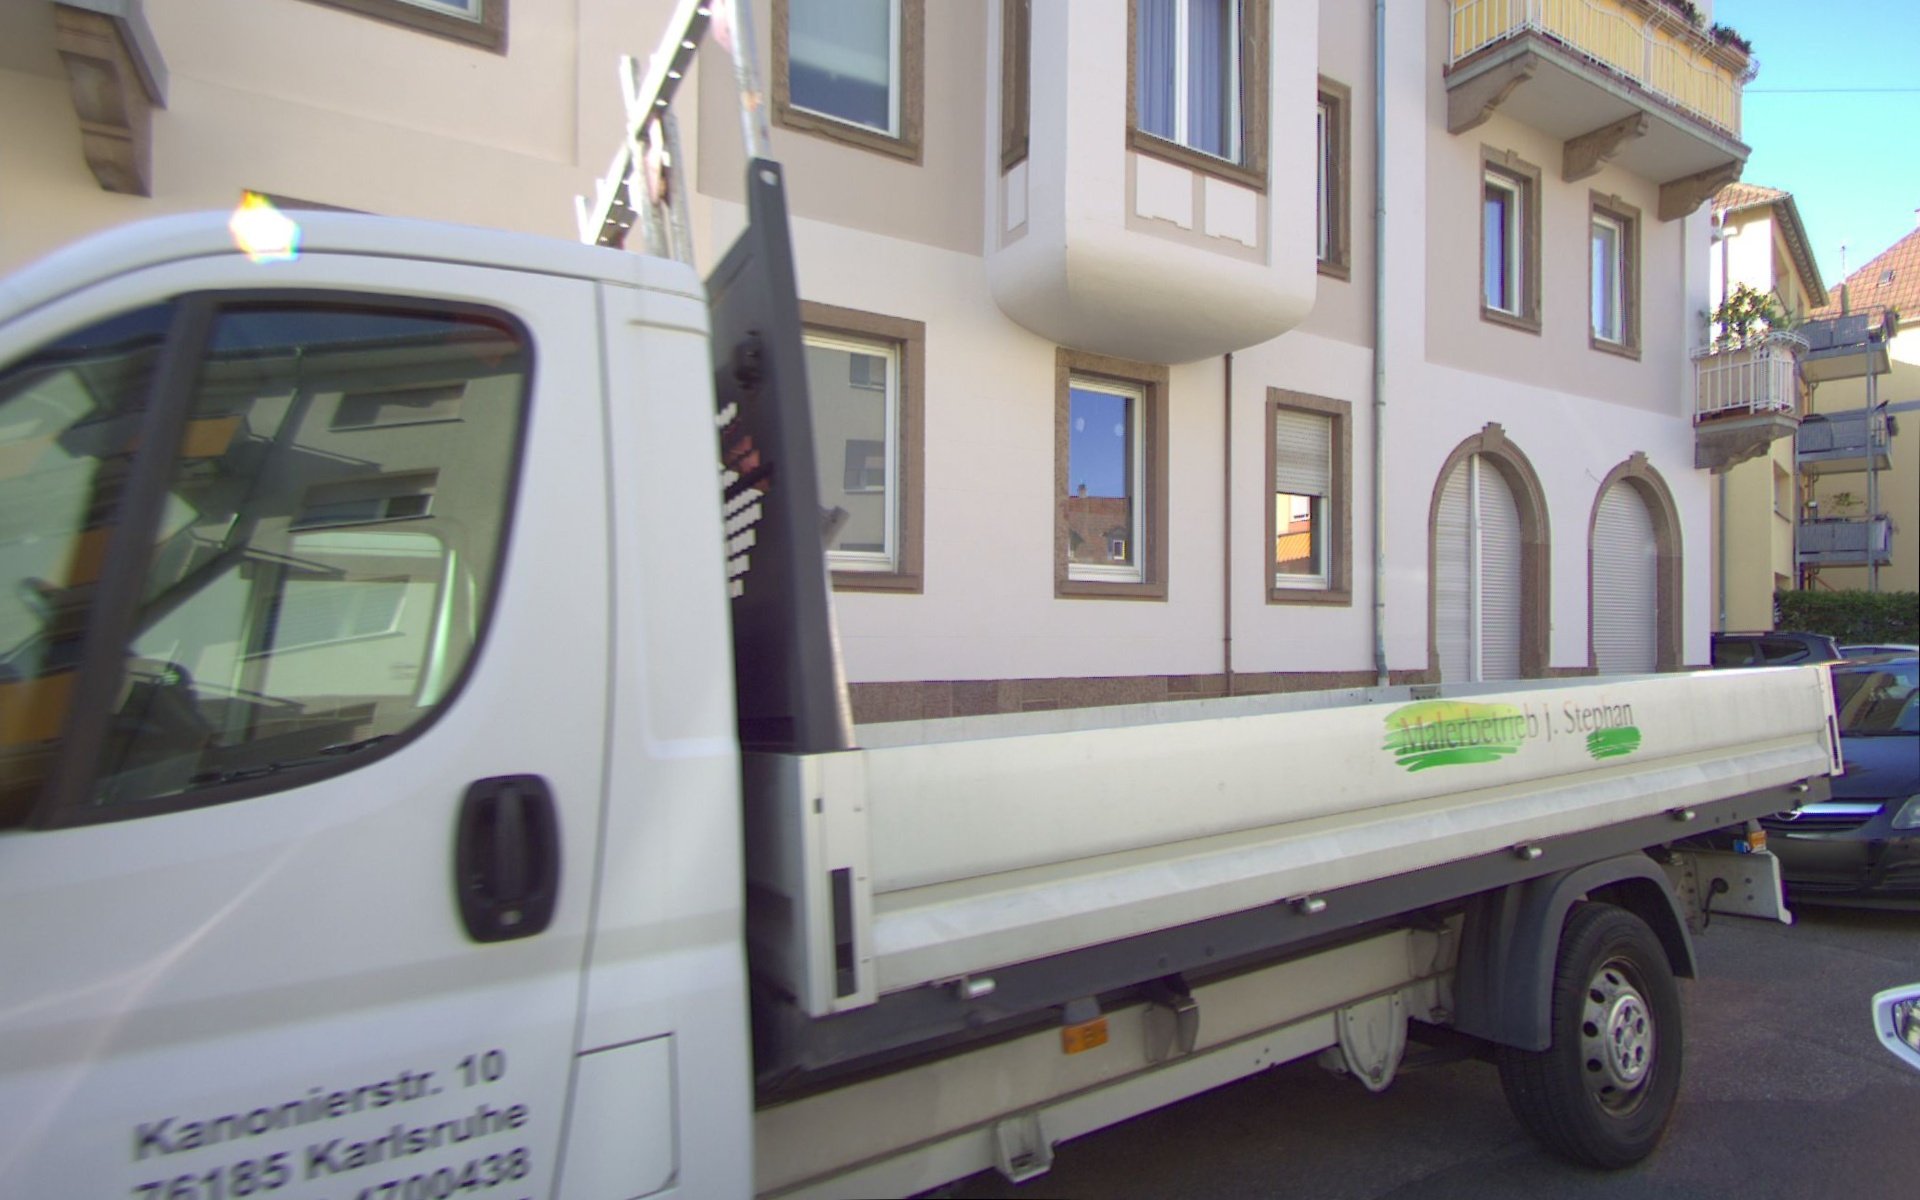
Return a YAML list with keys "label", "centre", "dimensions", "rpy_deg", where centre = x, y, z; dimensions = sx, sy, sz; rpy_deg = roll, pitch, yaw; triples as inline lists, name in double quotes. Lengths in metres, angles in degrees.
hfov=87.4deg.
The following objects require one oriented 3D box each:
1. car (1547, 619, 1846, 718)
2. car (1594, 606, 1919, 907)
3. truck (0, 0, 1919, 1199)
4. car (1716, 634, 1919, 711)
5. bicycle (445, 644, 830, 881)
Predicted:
- label: "car"
  centre: [13.825, 1.195, 19.022]
  dimensions: [4.415, 1.637, 1.768]
  rpy_deg: [0, -2, 43]
- label: "car"
  centre: [5.974, 0.869, 6.428]
  dimensions: [4.037, 1.434, 1.637]
  rpy_deg: [2, -6, -33]
- label: "truck"
  centre: [0.530, -0.046, 3.295]
  dimensions: [7.196, 3.024, 2.247]
  rpy_deg: [2, -5, -32]
- label: "car"
  centre: [19.058, 1.529, 21.934]
  dimensions: [3.936, 1.499, 1.586]
  rpy_deg: [0, -2, 43]
- label: "bicycle"
  centre: [-2.023, 0.955, 6.508]
  dimensions: [2.313, 1.296, 0.566]
  rpy_deg: [1, -1, -31]
